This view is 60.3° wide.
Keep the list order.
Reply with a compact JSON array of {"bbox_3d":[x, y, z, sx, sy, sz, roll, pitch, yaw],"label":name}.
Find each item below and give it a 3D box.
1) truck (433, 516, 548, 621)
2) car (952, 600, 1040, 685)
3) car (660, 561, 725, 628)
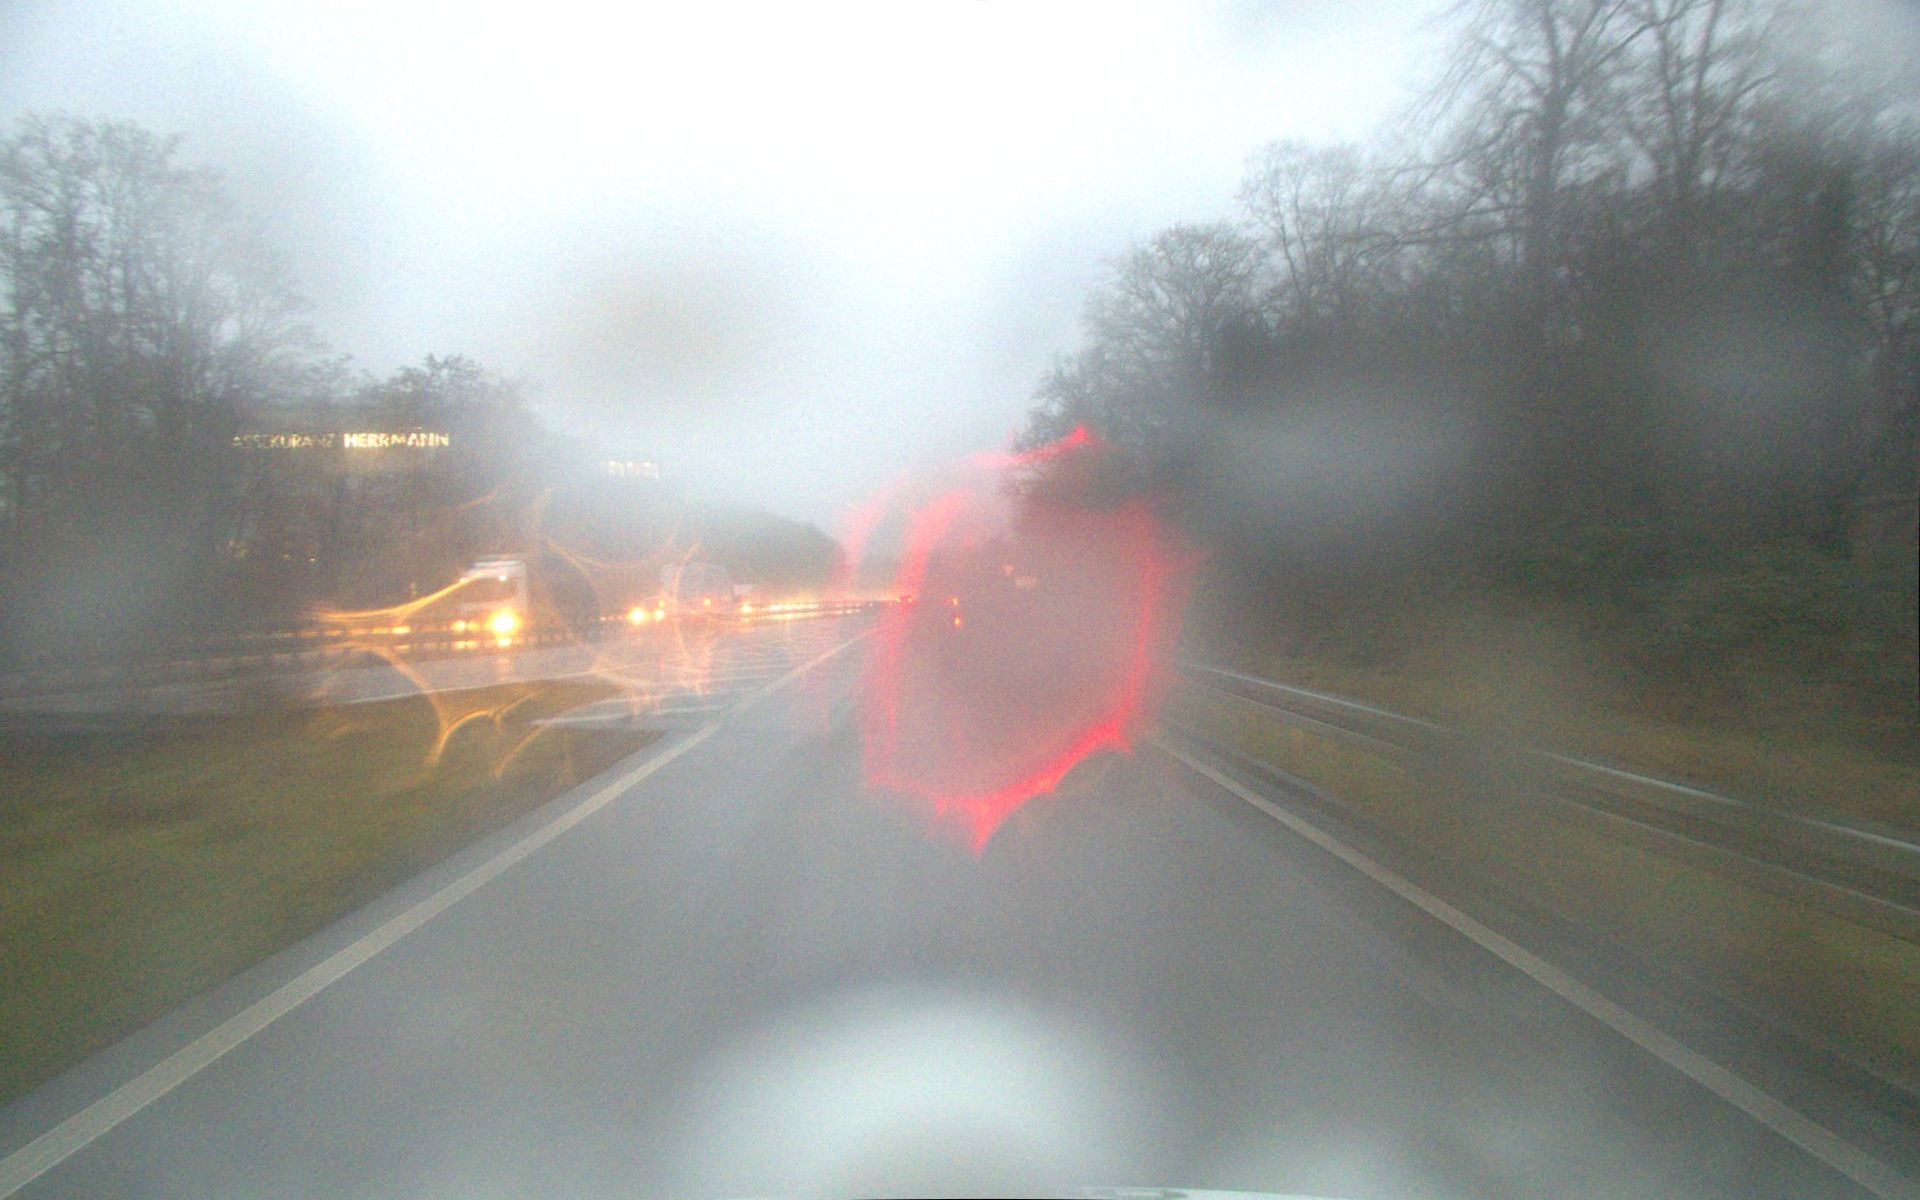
[{"bbox_3d":[-23.097,-1.502,81.695,3.416,4.932,6.035,1,0,5],"label":"truck"},{"bbox_3d":[0.616,0.733,30.167,1.496,1.440,3.478,1,0,0],"label":"car"},{"bbox_3d":[-10.329,-0.197,64.172,1.960,2.496,3.998,1,0,-2],"label":"car"}]
